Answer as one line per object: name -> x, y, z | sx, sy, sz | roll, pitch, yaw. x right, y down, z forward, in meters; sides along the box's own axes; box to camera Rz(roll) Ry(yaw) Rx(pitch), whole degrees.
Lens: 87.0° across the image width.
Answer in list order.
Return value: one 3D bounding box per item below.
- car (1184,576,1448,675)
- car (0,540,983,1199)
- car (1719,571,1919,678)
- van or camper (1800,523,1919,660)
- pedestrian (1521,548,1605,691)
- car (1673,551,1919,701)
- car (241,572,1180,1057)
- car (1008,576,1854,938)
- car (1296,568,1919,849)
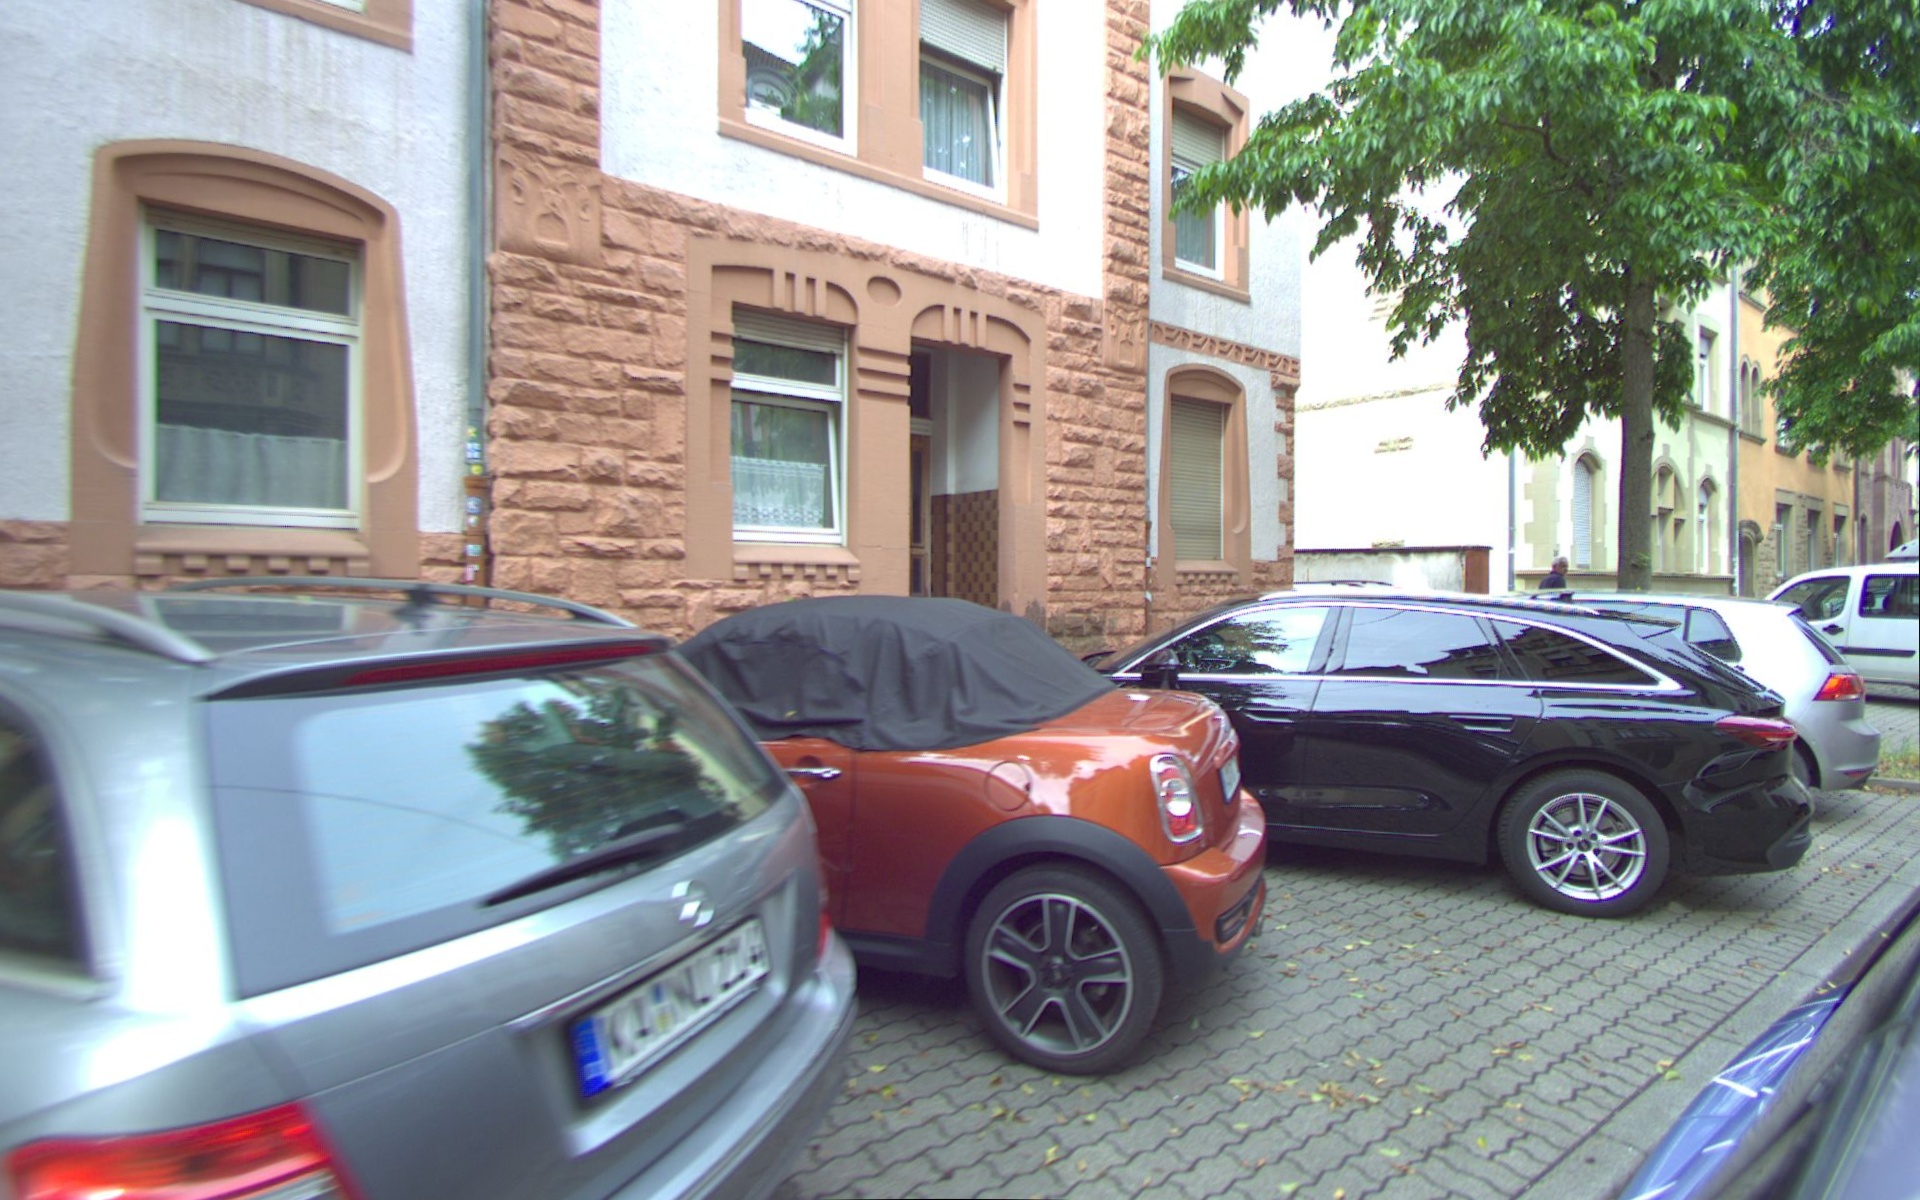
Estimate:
car -> 5.852, 0.346, 17.044 | 1.580, 1.472, 3.997 | 0, 1, -38
car -> -2.306, 0.592, 2.426 | 4.394, 1.445, 1.746 | 2, 2, 23
car -> 15.051, 0.367, 16.275 | 4.230, 1.637, 1.749 | 0, 1, 23
van or camper -> 19.970, -0.168, 19.803 | 5.011, 2.623, 2.058 | 0, 1, 23
pedestrian -> 8.020, 0.244, 13.473 | 0.802, 1.835, 0.703 | 0, 0, -37
car -> 12.131, 0.314, 13.454 | 1.686, 1.834, 4.003 | 0, 0, -31
car -> -1.076, 0.626, 4.561 | 3.837, 1.454, 1.734 | 0, 0, 22
car -> 2.252, 0.616, 5.609 | 3.650, 1.484, 1.694 | 0, 1, 22
car -> 4.388, 0.607, 7.330 | 3.439, 1.583, 1.768 | 0, 0, 30
